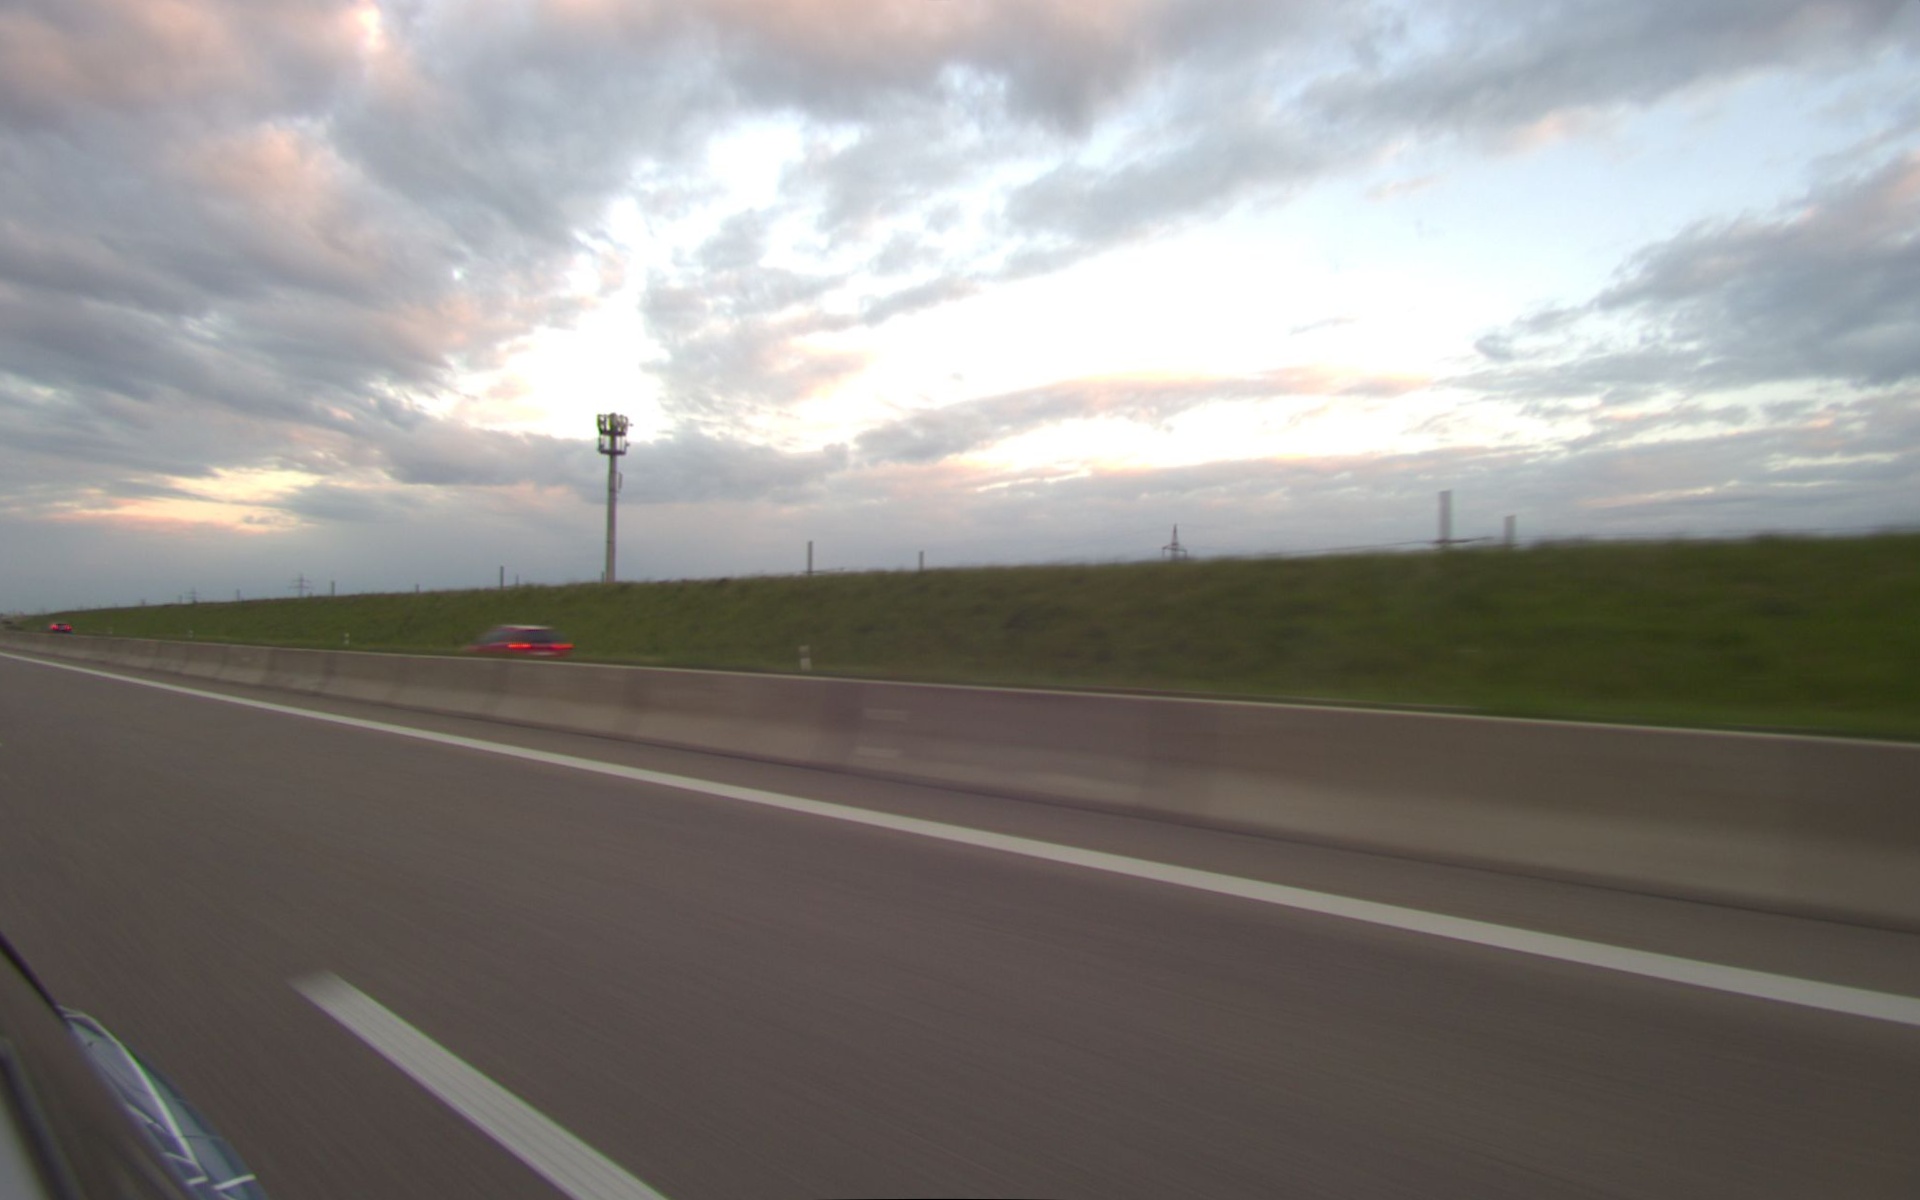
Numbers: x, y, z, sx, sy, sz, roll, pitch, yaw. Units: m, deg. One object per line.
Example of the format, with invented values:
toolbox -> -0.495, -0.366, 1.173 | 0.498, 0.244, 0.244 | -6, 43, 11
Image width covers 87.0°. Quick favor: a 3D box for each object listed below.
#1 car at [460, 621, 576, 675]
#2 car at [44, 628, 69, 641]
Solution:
car -> -14.057, 1.485, 32.103 | 4.104, 1.604, 1.833 | -1, -3, 42
car -> -113.420, 4.313, 127.035 | 4.581, 1.565, 1.841 | -1, -3, 43
